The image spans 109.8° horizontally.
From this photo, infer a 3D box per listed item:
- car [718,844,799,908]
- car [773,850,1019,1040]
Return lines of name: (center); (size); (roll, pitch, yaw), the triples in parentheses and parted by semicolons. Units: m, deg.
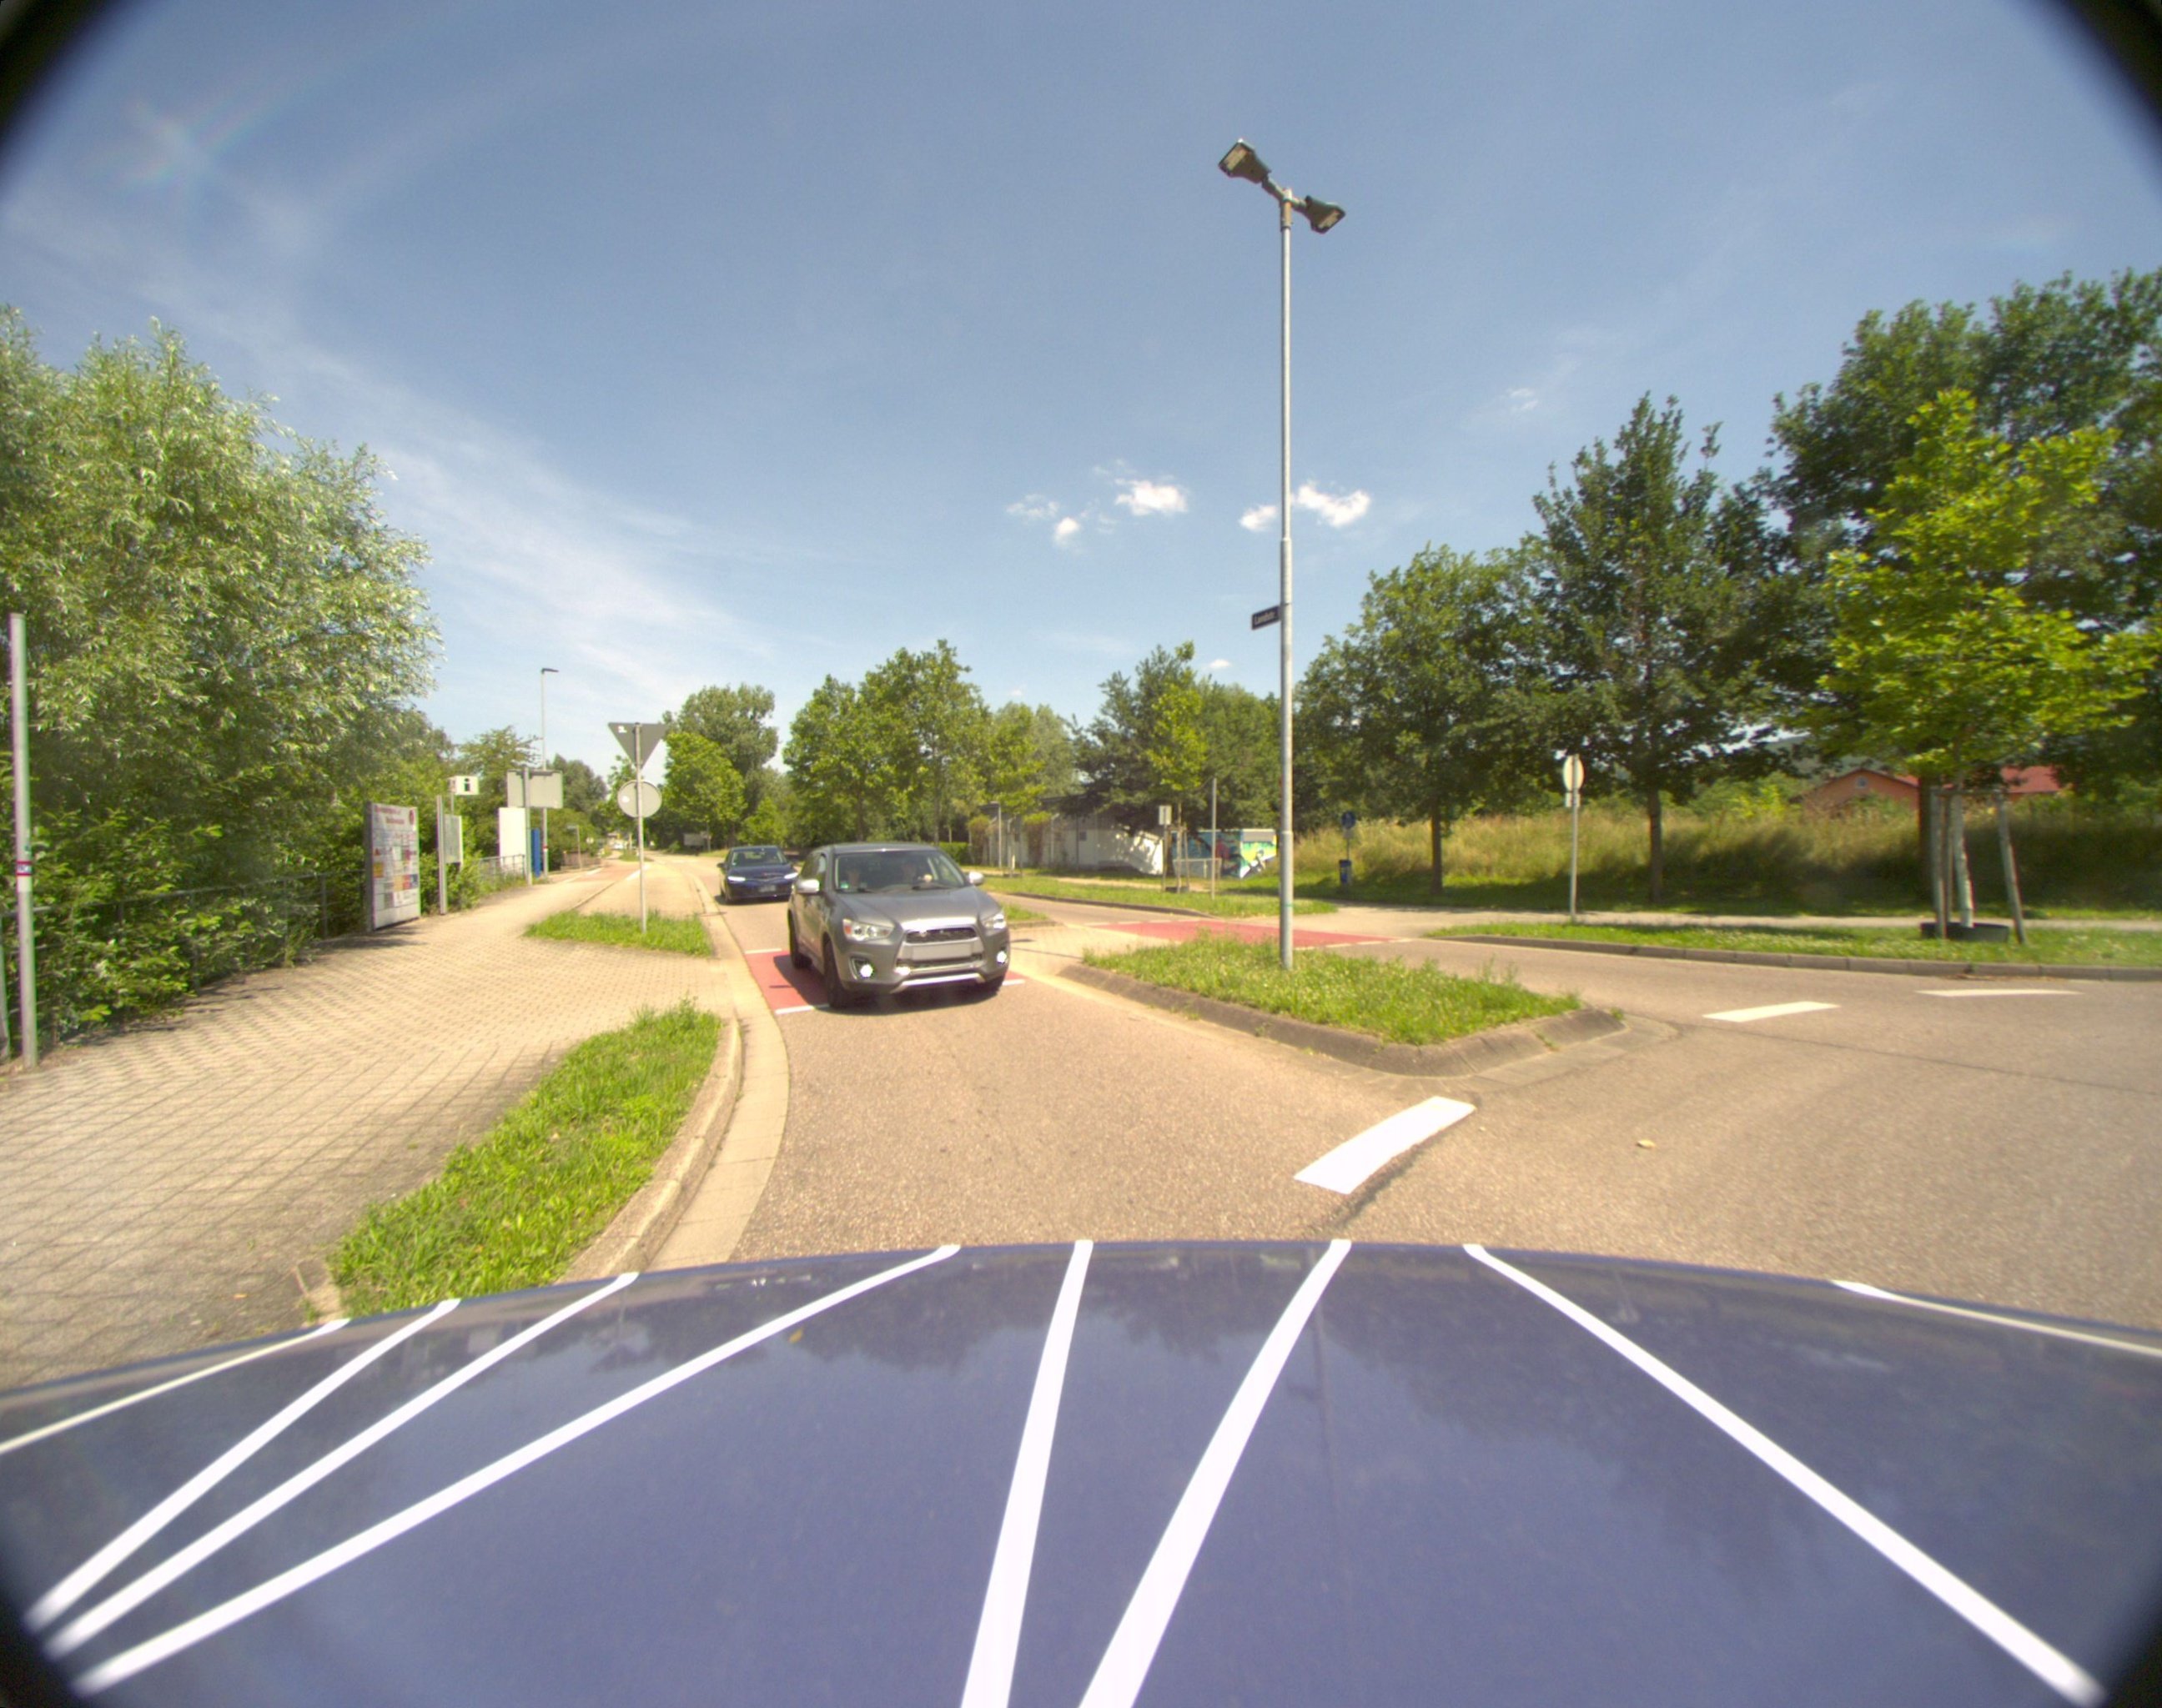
car: (-8.794, 0.504, 20.650); (1.797, 1.531, 4.122); (-2, 2, -25)
car: (-2.423, 0.770, 8.913); (1.753, 1.525, 4.513); (-2, 2, -27)
